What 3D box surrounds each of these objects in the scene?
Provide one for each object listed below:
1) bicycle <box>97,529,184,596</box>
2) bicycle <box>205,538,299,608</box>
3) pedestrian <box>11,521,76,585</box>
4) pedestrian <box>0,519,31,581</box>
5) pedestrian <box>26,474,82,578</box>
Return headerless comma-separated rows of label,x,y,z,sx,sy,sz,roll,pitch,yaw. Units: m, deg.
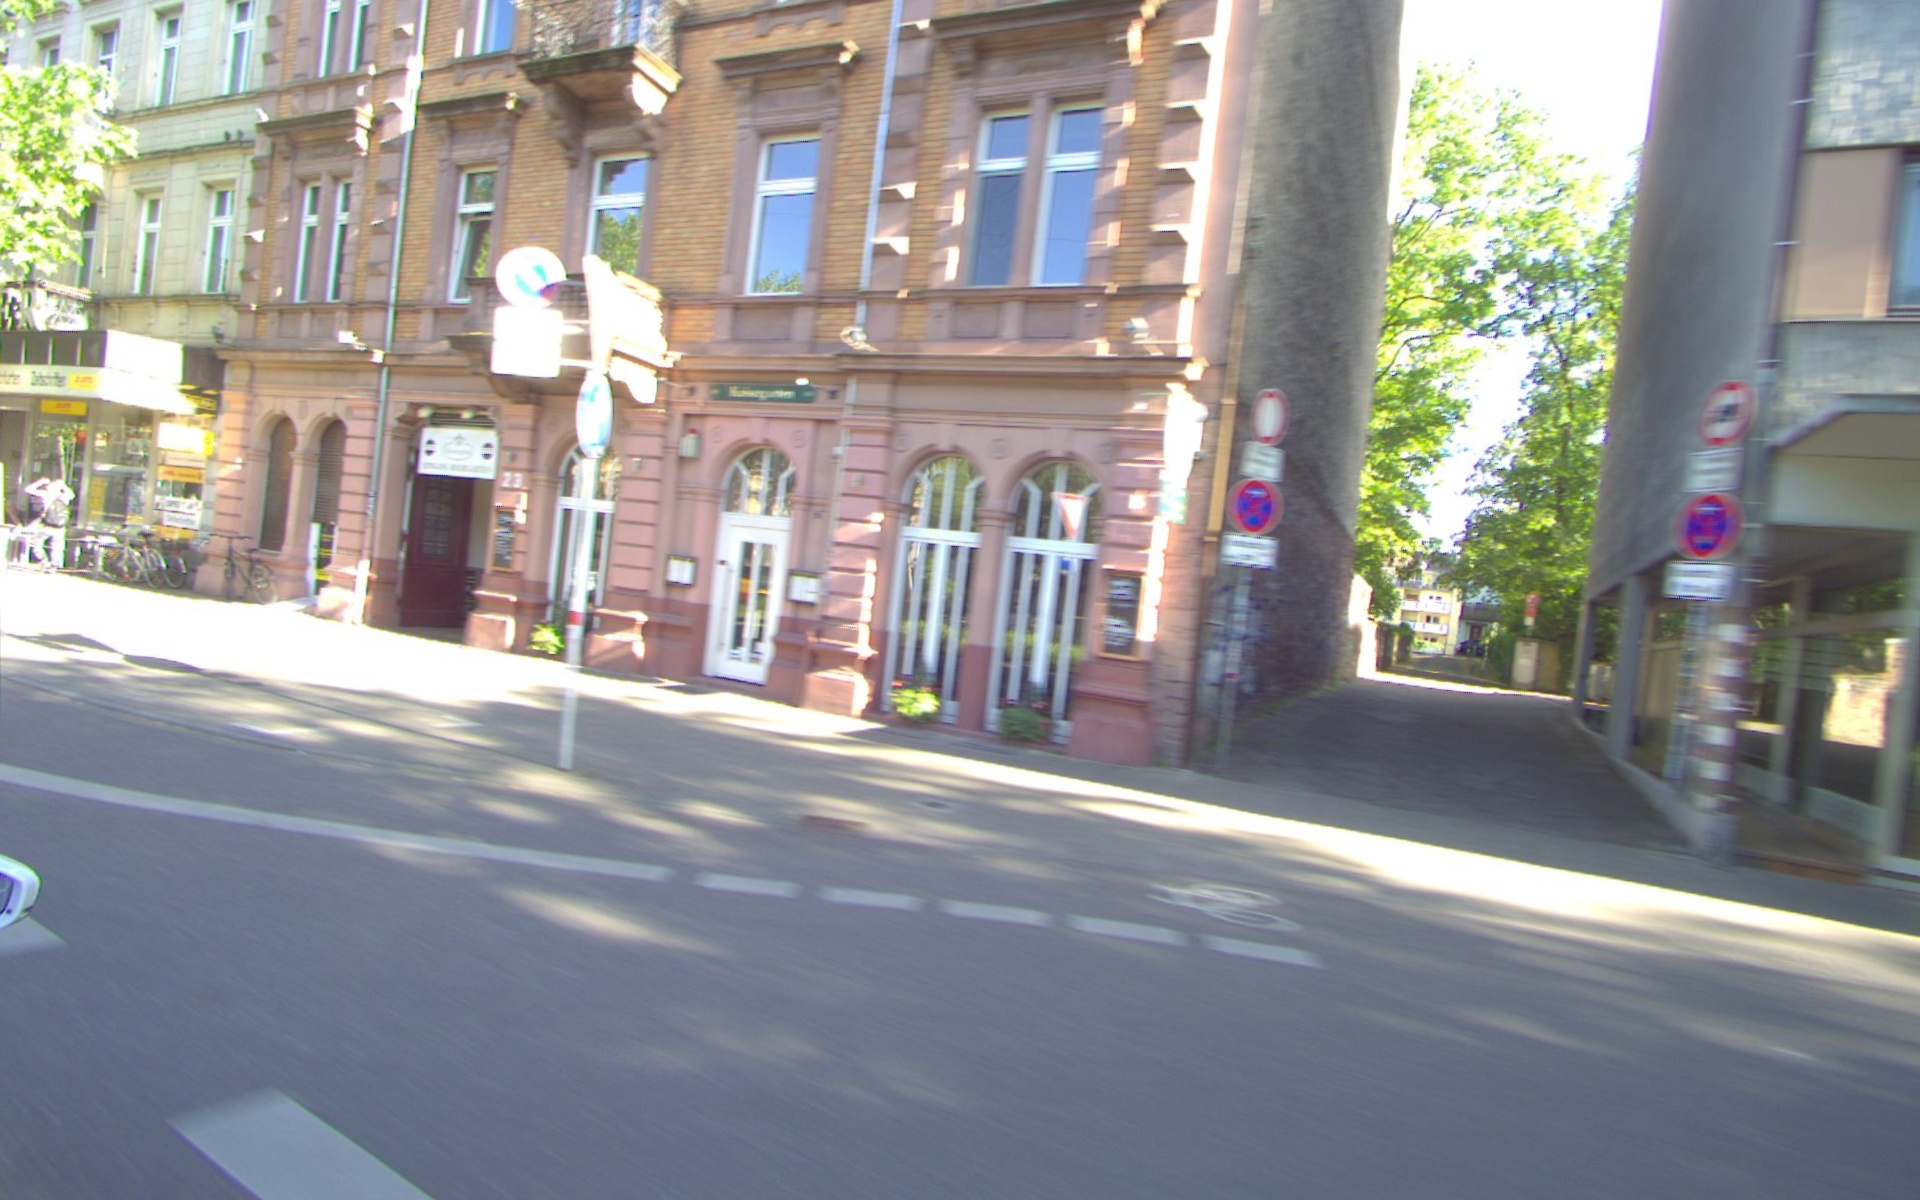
bicycle,-14.834,-0.687,18.207,1.658,1.005,0.444,7,-1,25
bicycle,-12.208,-0.468,17.330,1.658,1.005,0.444,7,-1,25
pedestrian,-18.635,-0.954,20.460,0.599,1.174,0.648,7,-1,14
pedestrian,-19.288,-1.028,20.170,0.461,1.174,0.774,8,-1,1
pedestrian,-16.801,-1.361,18.663,0.465,1.831,0.767,8,-1,-33
